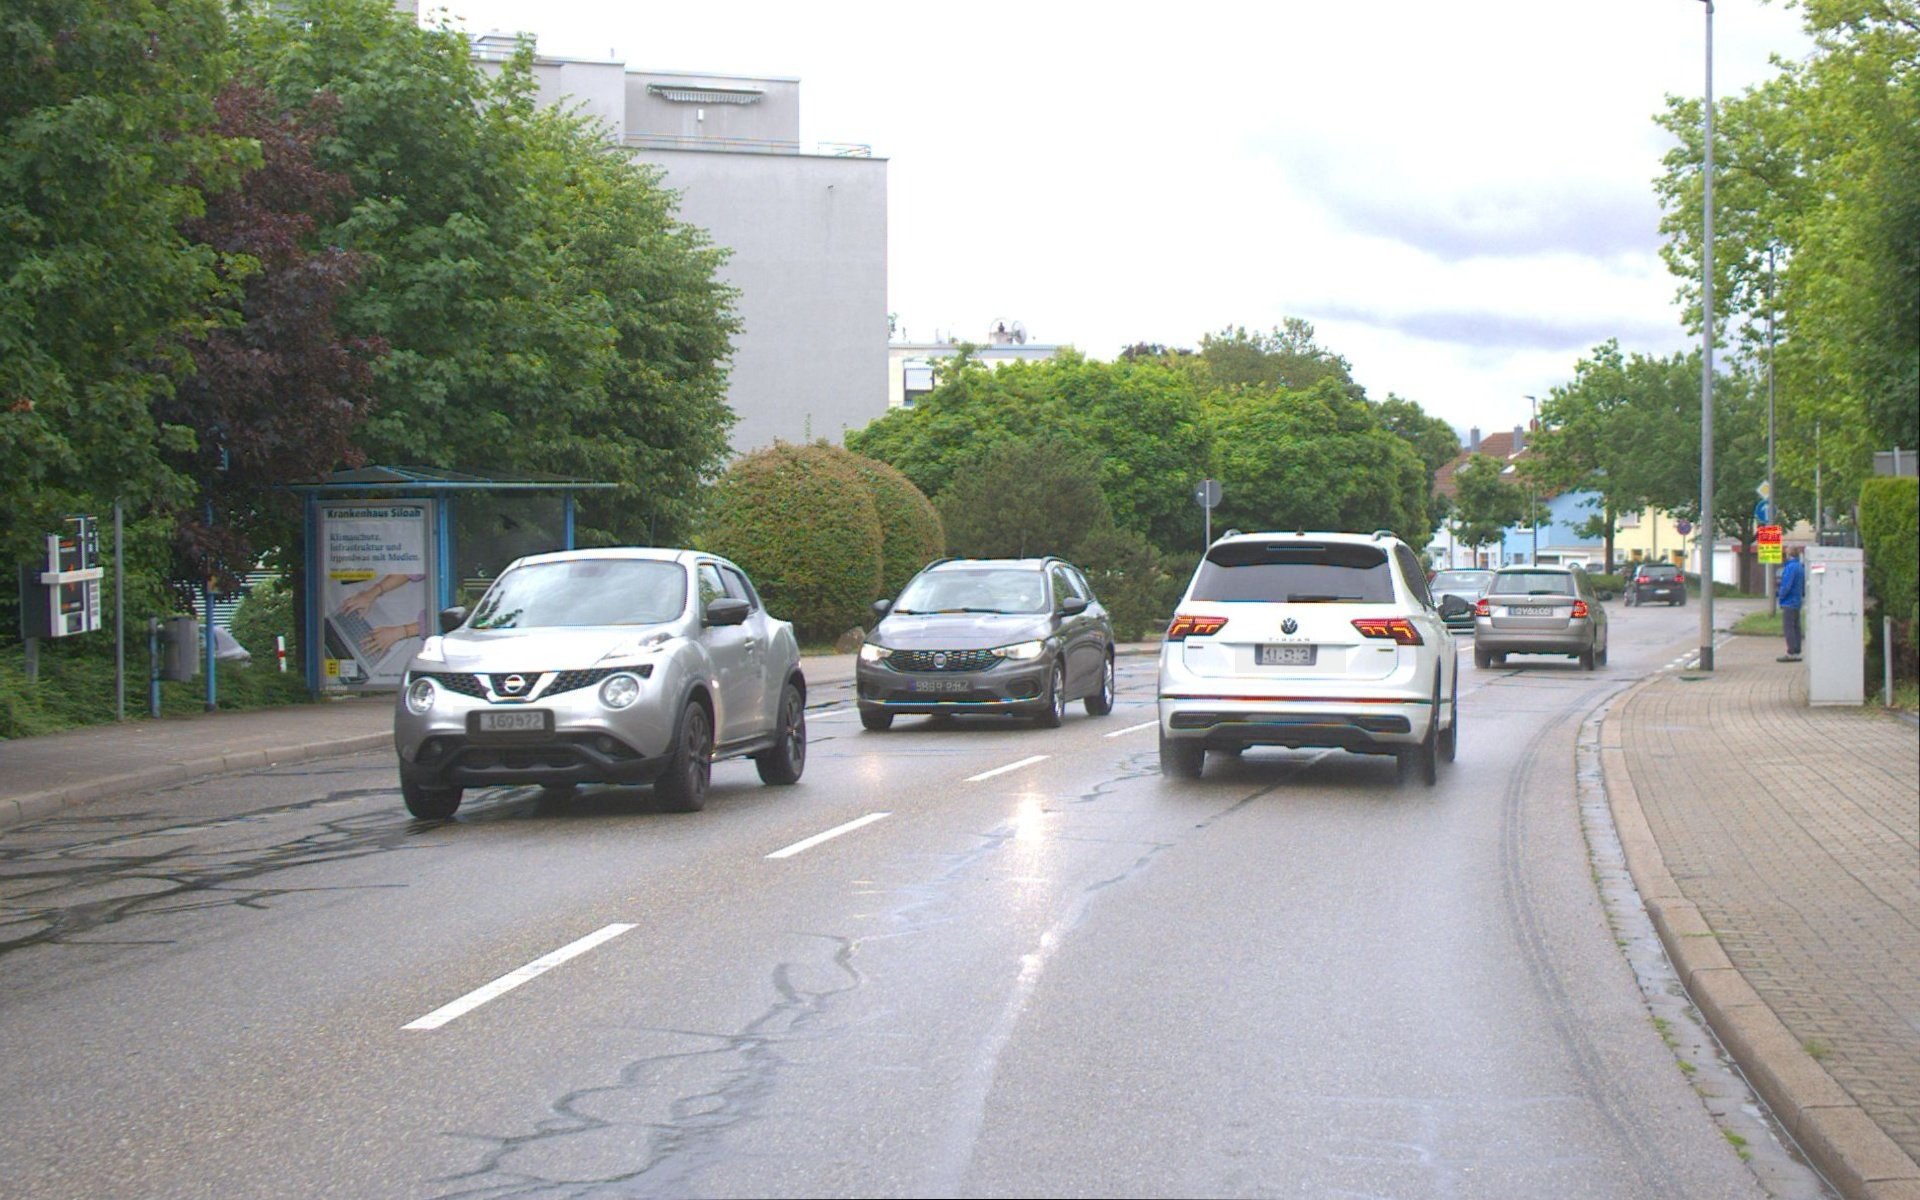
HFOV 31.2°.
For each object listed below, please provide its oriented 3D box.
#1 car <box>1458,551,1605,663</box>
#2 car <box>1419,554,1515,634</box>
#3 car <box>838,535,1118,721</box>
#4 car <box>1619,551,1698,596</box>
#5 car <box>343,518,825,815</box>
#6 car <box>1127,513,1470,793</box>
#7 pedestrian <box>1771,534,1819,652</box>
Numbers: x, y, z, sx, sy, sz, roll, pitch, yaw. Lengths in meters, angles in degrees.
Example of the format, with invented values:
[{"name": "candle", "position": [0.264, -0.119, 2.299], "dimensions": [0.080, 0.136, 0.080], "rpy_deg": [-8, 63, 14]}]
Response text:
[{"name": "car", "position": [8.108, 0.129, 48.581], "dimensions": [1.766, 1.505, 3.997], "rpy_deg": [0, -1, 13]}, {"name": "car", "position": [10.967, -0.152, 74.255], "dimensions": [1.902, 1.651, 4.113], "rpy_deg": [0, 1, 10]}, {"name": "car", "position": [0.238, 0.210, 31.420], "dimensions": [1.902, 1.584, 4.114], "rpy_deg": [0, 1, 10]}, {"name": "car", "position": [24.109, -0.911, 118.834], "dimensions": [2.005, 1.451, 3.999], "rpy_deg": [0, -1, 1]}, {"name": "car", "position": [-2.199, 0.343, 21.306], "dimensions": [1.902, 1.651, 4.114], "rpy_deg": [0, 1, 10]}, {"name": "car", "position": [2.441, 0.288, 23.815], "dimensions": [1.922, 1.716, 4.263], "rpy_deg": [1, 1, 11]}, {"name": "pedestrian", "position": [11.964, -0.093, 49.229], "dimensions": [0.571, 1.666, 0.722], "rpy_deg": [-1, -1, 21]}]
